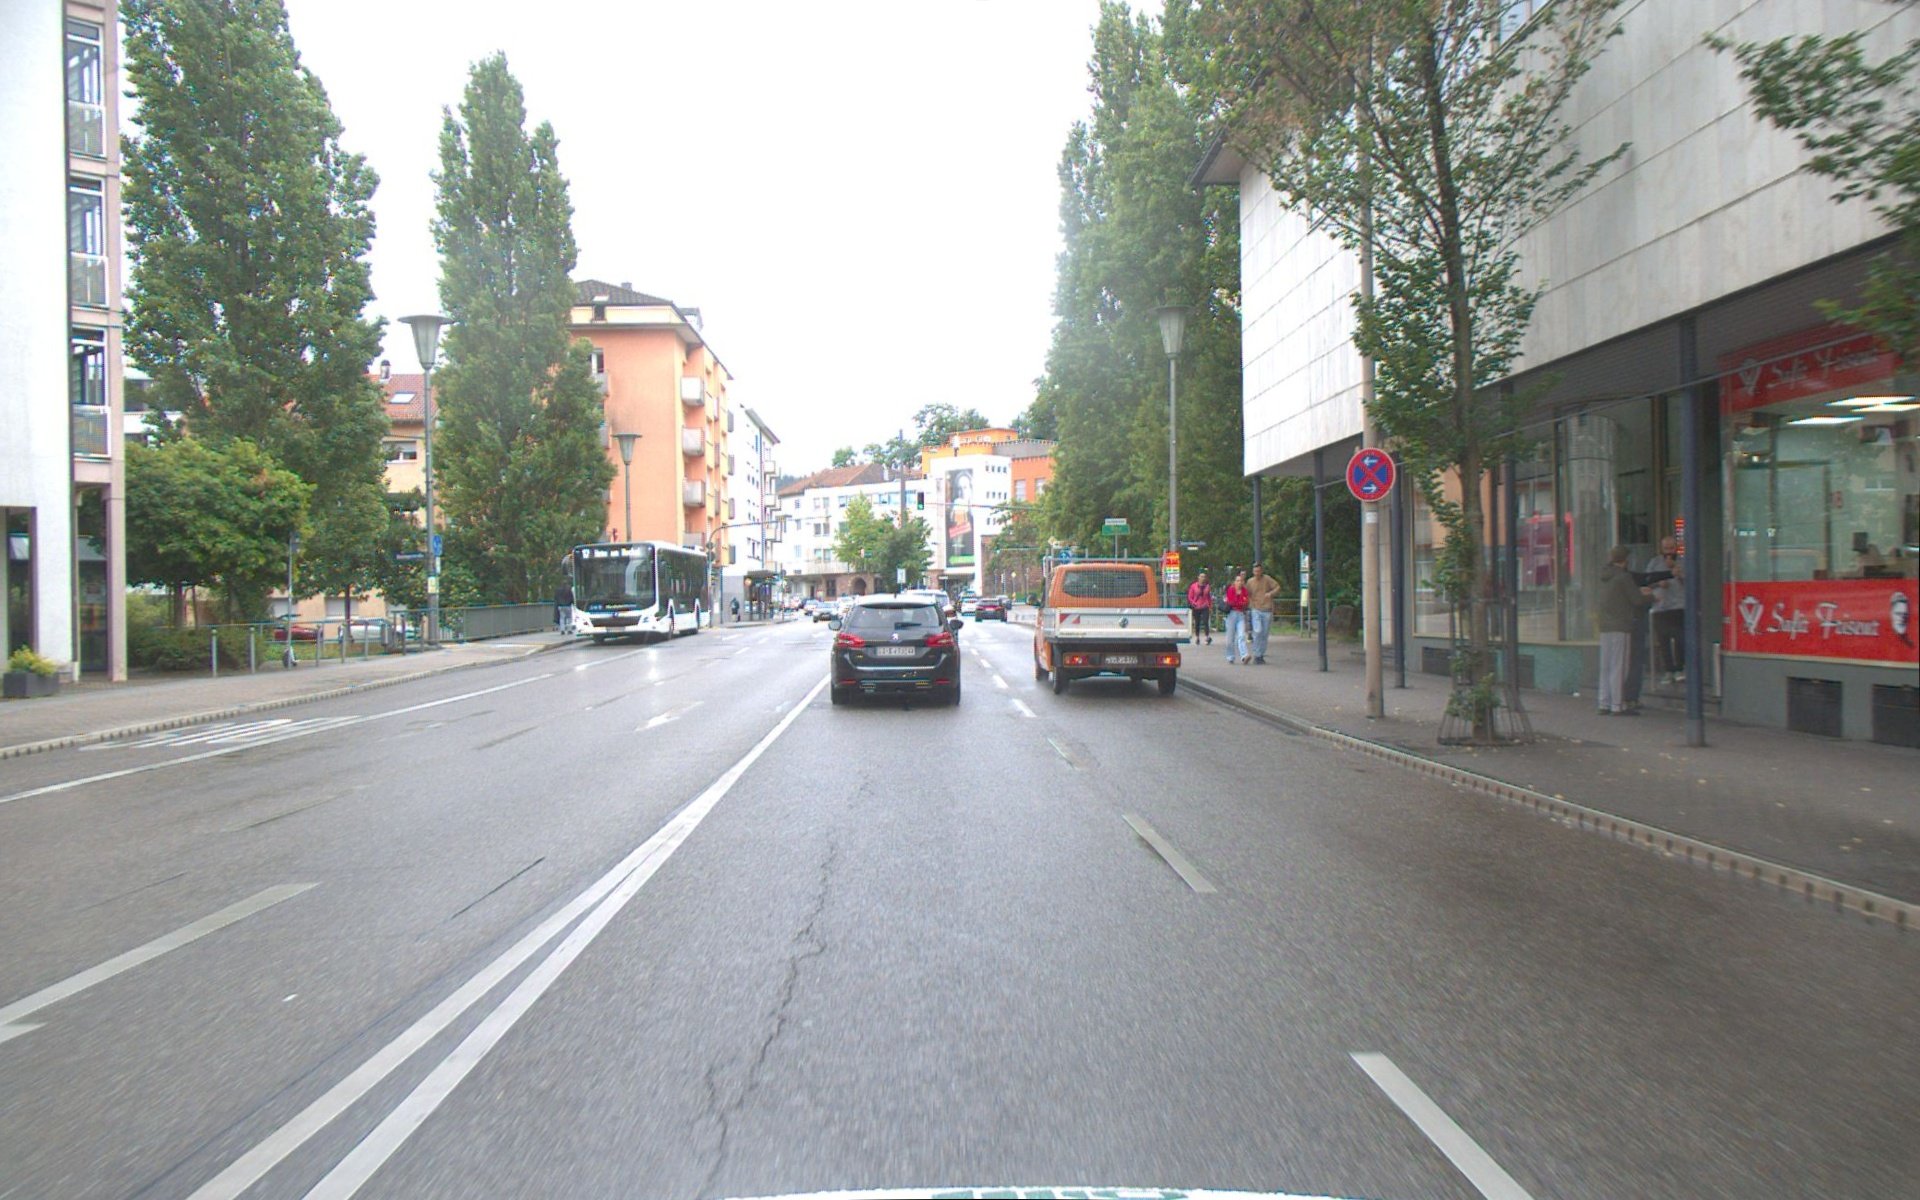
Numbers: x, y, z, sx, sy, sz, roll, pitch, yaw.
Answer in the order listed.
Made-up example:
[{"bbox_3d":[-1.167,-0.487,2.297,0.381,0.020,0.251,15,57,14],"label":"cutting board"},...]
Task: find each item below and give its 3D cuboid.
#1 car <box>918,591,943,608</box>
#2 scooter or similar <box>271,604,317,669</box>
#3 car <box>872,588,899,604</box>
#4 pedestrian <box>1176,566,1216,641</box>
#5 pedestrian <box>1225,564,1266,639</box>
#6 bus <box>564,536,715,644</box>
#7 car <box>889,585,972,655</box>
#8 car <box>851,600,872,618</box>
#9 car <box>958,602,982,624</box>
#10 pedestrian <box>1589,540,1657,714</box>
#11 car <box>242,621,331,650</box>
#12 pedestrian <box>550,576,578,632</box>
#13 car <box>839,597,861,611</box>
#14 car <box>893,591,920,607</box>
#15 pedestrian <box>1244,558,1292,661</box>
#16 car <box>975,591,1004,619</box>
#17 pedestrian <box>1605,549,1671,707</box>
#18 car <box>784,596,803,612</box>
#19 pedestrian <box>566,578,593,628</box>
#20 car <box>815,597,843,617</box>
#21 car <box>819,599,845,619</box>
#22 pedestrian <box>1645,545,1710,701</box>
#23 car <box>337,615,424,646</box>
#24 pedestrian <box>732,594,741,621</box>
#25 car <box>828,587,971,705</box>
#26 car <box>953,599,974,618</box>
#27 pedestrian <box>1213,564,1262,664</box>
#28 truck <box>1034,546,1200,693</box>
[{"bbox_3d":[-3.016,-0.057,170.859,1.957,1.713,3.990,-2,0,-10],"label":"car"},{"bbox_3d":[-14.877,0.803,36.955,0.472,1.336,1.570,-2,2,-5],"label":"scooter or similar"},{"bbox_3d":[-8.039,-0.418,178.432,1.624,1.592,3.570,2,-2,-26],"label":"car"},{"bbox_3d":[5.315,0.075,37.305,0.703,1.648,0.769,-3,0,-2],"label":"pedestrian"},{"bbox_3d":[6.347,0.023,36.816,0.711,1.617,0.606,-3,0,-2],"label":"pedestrian"},{"bbox_3d":[-10.309,-0.467,54.645,2.688,3.129,12.236,-1,2,-1],"label":"bus"},{"bbox_3d":[-0.632,0.436,38.594,1.758,1.509,4.000,-2,0,1],"label":"car"},{"bbox_3d":[-8.408,0.730,141.574,1.631,1.424,3.875,-2,0,-2],"label":"car"},{"bbox_3d":[0.847,1.118,144.520,1.953,1.853,3.999,0,0,-2],"label":"car"},{"bbox_3d":[7.189,0.286,17.955,0.525,1.851,0.535,-2,0,7],"label":"pedestrian"},{"bbox_3d":[-35.764,1.897,87.864,3.906,1.412,1.899,-1,0,-1],"label":"car"},{"bbox_3d":[-13.256,0.134,55.422,0.683,1.825,0.959,0,0,1],"label":"pedestrian"},{"bbox_3d":[-11.319,0.416,169.860,1.637,1.424,3.862,-2,0,-14],"label":"car"},{"bbox_3d":[-5.875,-0.097,182.072,1.624,1.592,3.570,2,-2,-26],"label":"car"},{"bbox_3d":[5.644,0.177,30.348,0.684,1.833,0.606,-3,0,-2],"label":"pedestrian"},{"bbox_3d":[1.795,0.338,102.185,1.611,1.592,3.598,1,-2,-1],"label":"car"},{"bbox_3d":[7.646,0.311,18.664,0.525,1.749,0.535,-2,0,7],"label":"pedestrian"},{"bbox_3d":[-18.683,0.427,185.593,1.956,1.713,3.993,-2,0,-8],"label":"car"},{"bbox_3d":[-13.920,0.120,60.492,0.780,1.825,0.812,0,0,1],"label":"pedestrian"},{"bbox_3d":[-9.408,0.484,119.153,1.755,1.348,4.405,-2,0,-2],"label":"car"},{"bbox_3d":[-10.480,0.710,135.761,1.799,1.536,4.819,-2,0,-1],"label":"car"},{"bbox_3d":[8.212,0.256,18.946,0.525,1.749,0.535,-2,0,8],"label":"pedestrian"},{"bbox_3d":[-30.807,1.607,88.033,3.906,1.412,1.899,-3,0,-1],"label":"car"},{"bbox_3d":[-15.872,0.542,117.449,0.626,1.893,0.523,0,0,-3],"label":"pedestrian"},{"bbox_3d":[-0.766,0.606,23.247,1.758,1.509,4.000,0,-1,1],"label":"car"},{"bbox_3d":[0.320,0.791,154.874,1.613,1.592,3.595,2,-2,-6],"label":"car"},{"bbox_3d":[5.105,0.249,30.456,0.640,1.798,0.922,-3,0,-2],"label":"pedestrian"},{"bbox_3d":[2.318,0.270,25.712,2.079,2.061,4.715,0,0,-1],"label":"truck"}]
